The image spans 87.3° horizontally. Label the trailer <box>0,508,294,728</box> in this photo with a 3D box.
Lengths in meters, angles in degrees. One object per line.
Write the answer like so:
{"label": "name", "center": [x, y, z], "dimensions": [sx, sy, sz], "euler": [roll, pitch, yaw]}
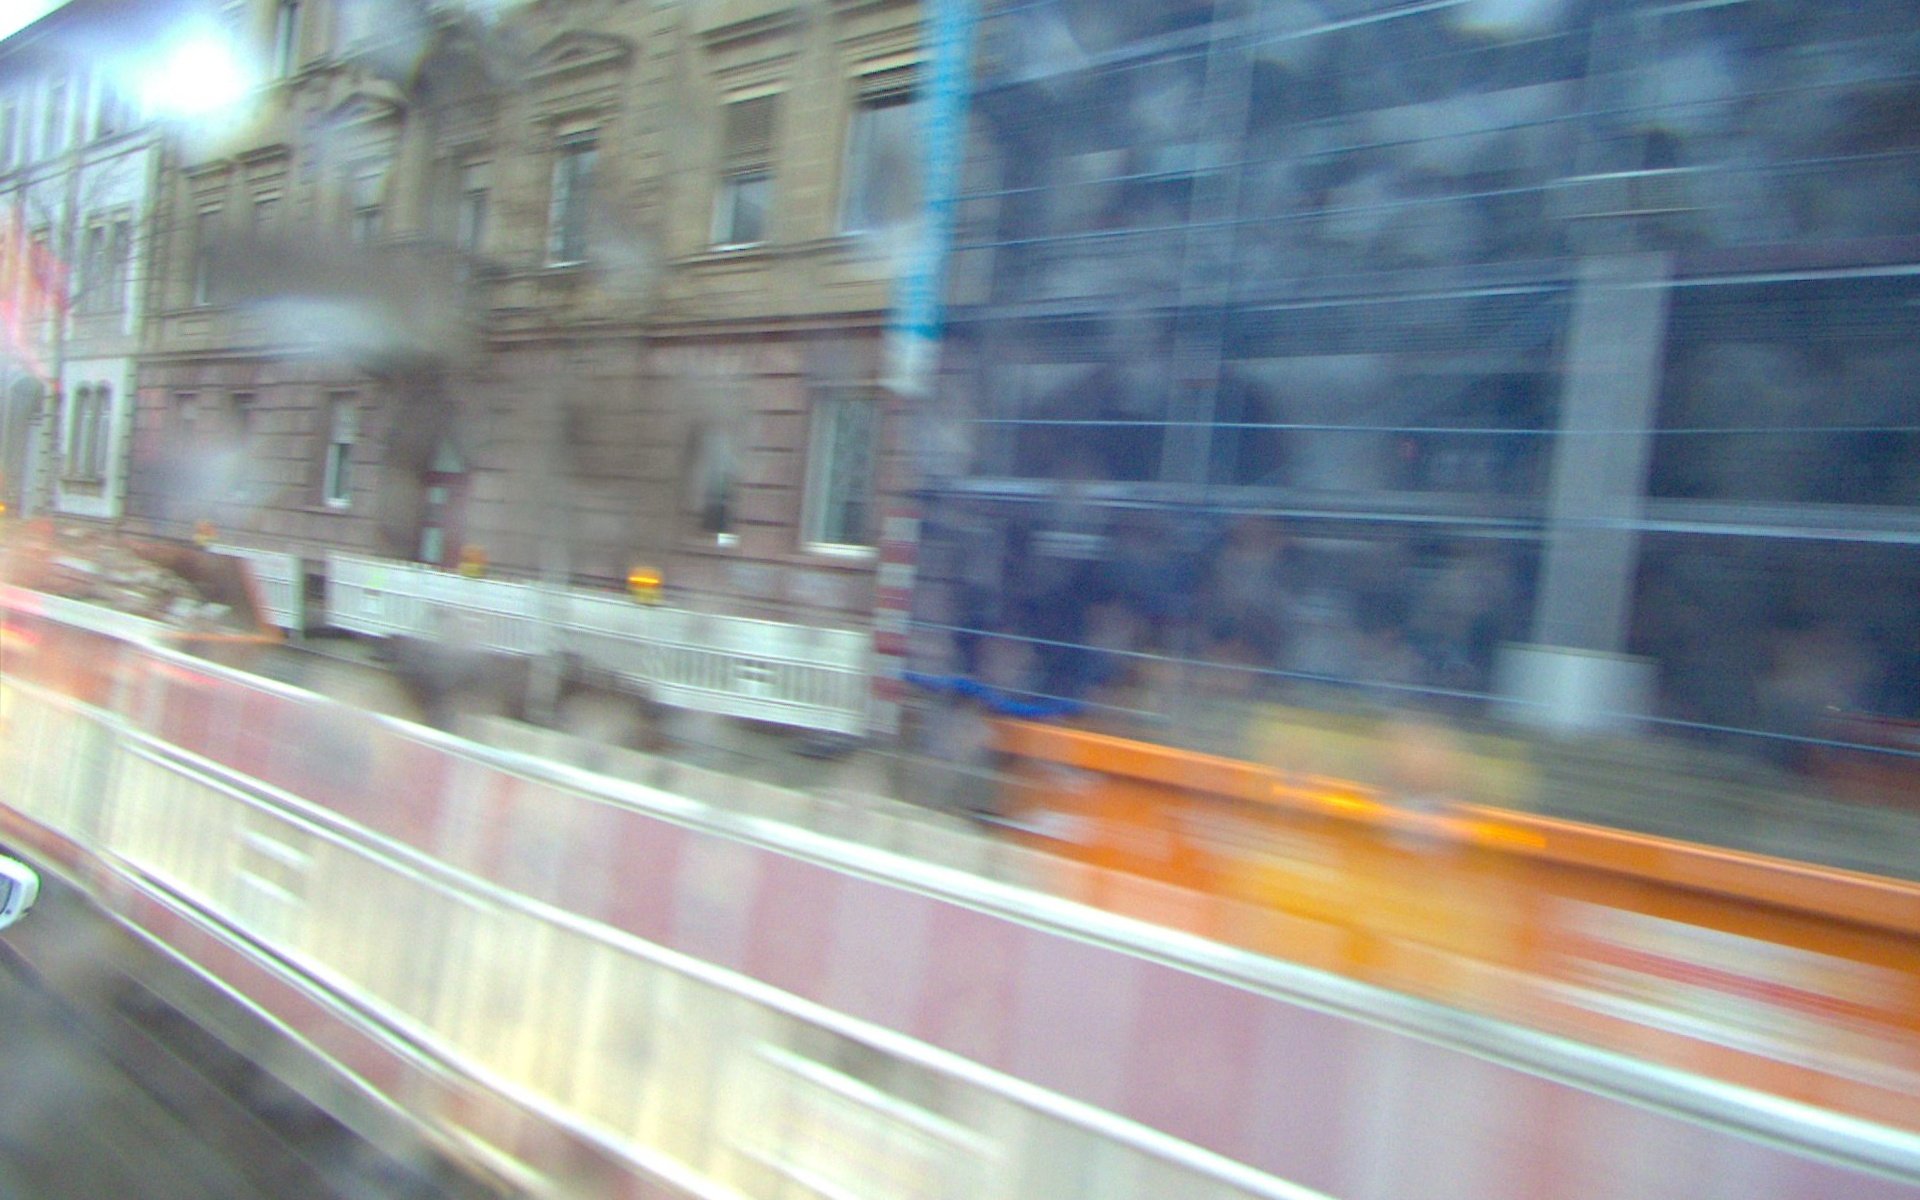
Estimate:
{"label": "trailer", "center": [-7.190, 0.023, 7.921], "dimensions": [3.469, 1.362, 1.853], "euler": [7, 0, 31]}

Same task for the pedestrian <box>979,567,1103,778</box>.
{"label": "pedestrian", "center": [0.724, 0.625, 8.946], "dimensions": [0.715, 1.732, 0.642], "euler": [7, 2, 31]}

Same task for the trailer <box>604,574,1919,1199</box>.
{"label": "trailer", "center": [1.412, 0.976, 2.821], "dimensions": [4.766, 1.508, 1.838], "euler": [7, 0, 31]}

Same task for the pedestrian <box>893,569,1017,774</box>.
{"label": "pedestrian", "center": [-0.037, 0.604, 8.740], "dimensions": [0.640, 1.643, 0.711], "euler": [7, 2, 31]}
